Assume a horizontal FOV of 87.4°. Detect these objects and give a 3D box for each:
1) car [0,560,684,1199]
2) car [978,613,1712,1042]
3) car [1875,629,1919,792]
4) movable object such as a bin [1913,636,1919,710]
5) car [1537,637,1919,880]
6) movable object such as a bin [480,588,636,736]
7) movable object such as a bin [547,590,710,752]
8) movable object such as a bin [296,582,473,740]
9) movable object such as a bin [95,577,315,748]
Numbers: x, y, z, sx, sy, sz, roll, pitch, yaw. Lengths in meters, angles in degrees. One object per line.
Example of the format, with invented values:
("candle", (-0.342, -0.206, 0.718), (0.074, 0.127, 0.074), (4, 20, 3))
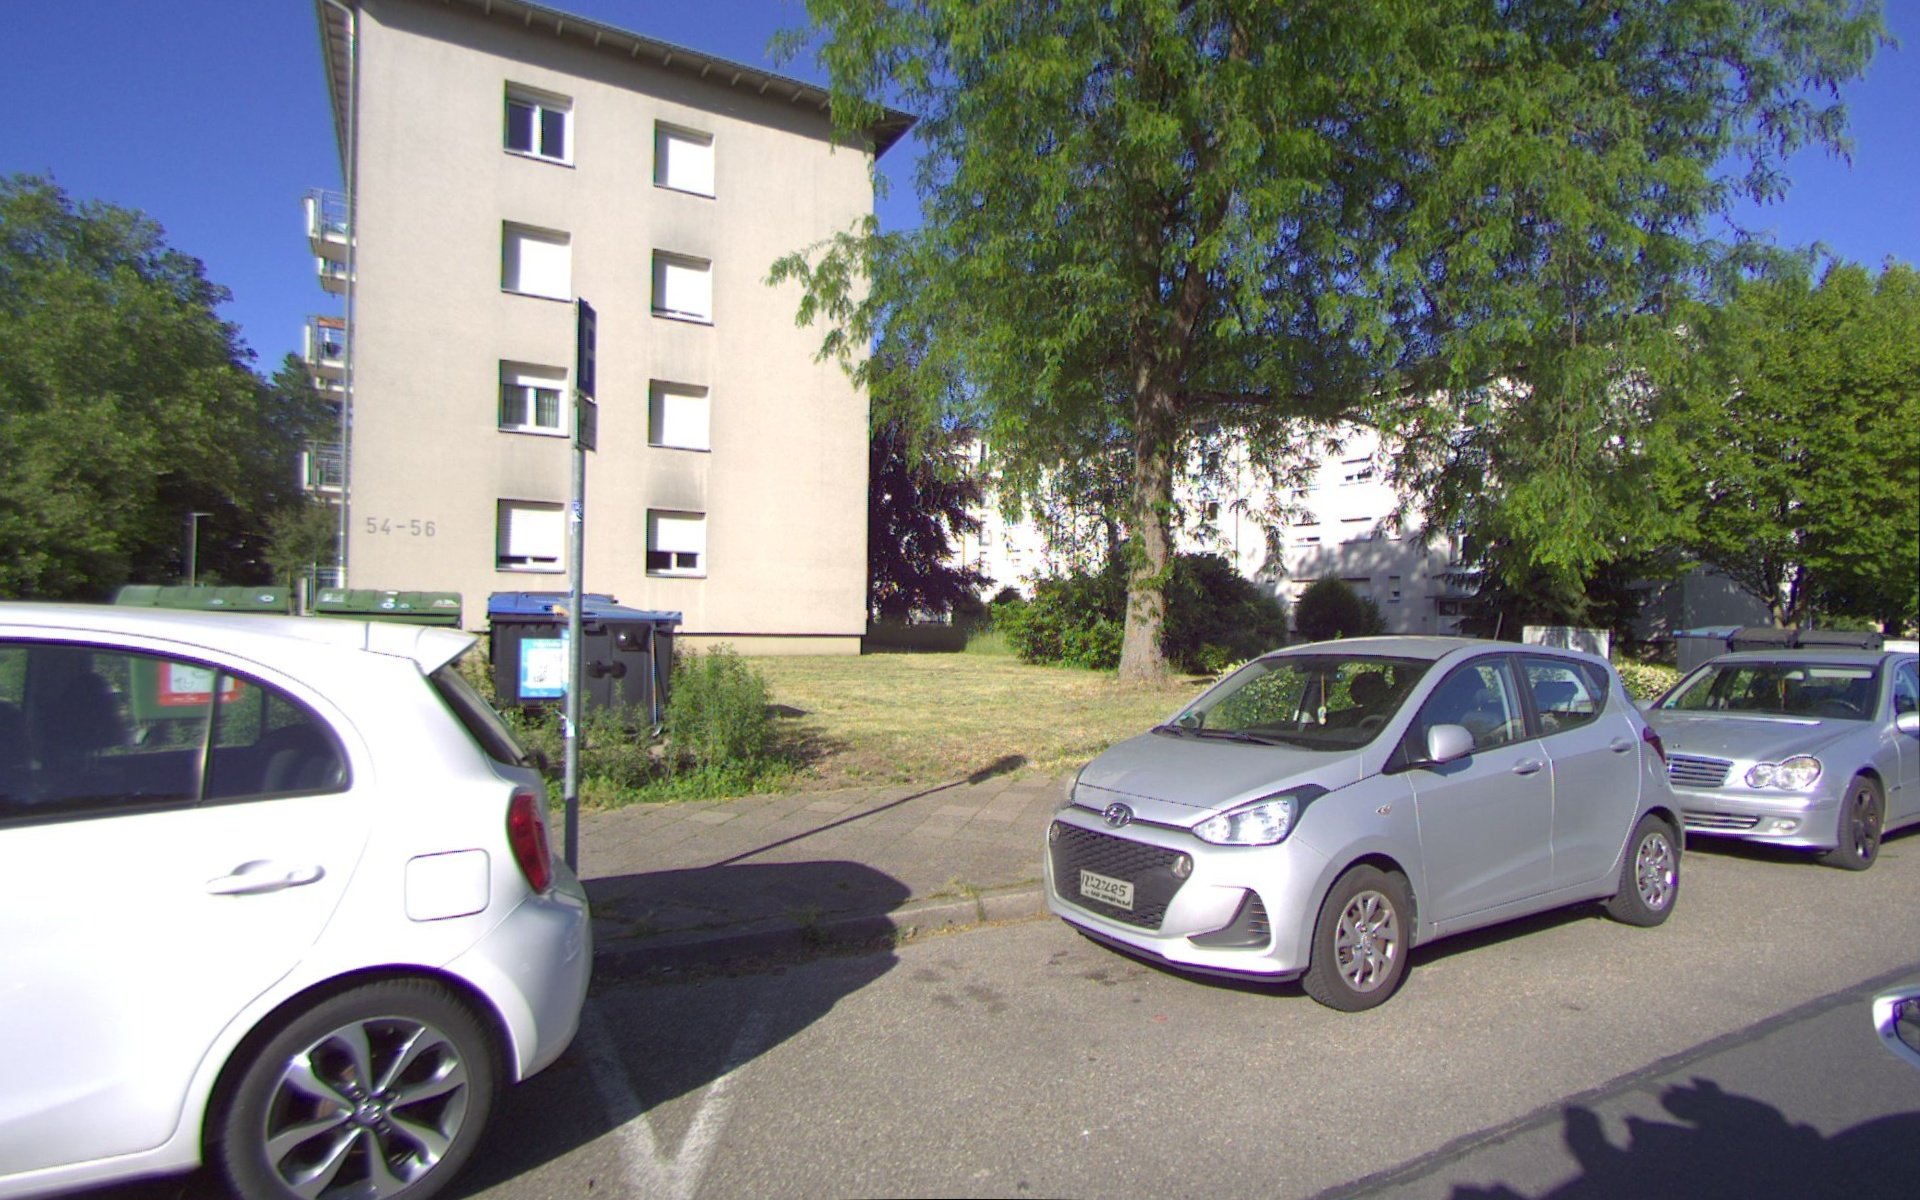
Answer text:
("car", (-2.846, 0.698, 2.538), (3.845, 1.555, 1.678), (2, -2, -30))
("car", (2.133, 0.872, 5.296), (3.775, 1.525, 1.678), (2, -2, -31))
("car", (11.514, 1.134, 10.598), (3.941, 1.621, 1.701), (2, -3, -31))
("movable object such as a bin", (19.449, 1.459, 19.398), (1.344, 1.440, 1.096), (1, 2, -29))
("car", (6.742, 1.070, 8.043), (4.473, 1.484, 1.679), (2, -3, -30))
("movable object such as a bin", (-4.368, 0.630, 10.875), (1.444, 1.440, 1.173), (2, 2, -27))
("movable object such as a bin", (-3.314, 0.664, 10.001), (1.344, 1.440, 1.129), (2, 2, -28))
("movable object such as a bin", (-5.753, 0.576, 10.154), (1.444, 1.440, 1.173), (2, 2, -27))
("movable object such as a bin", (-6.985, 0.543, 9.417), (1.444, 1.440, 1.173), (2, 2, -27))
